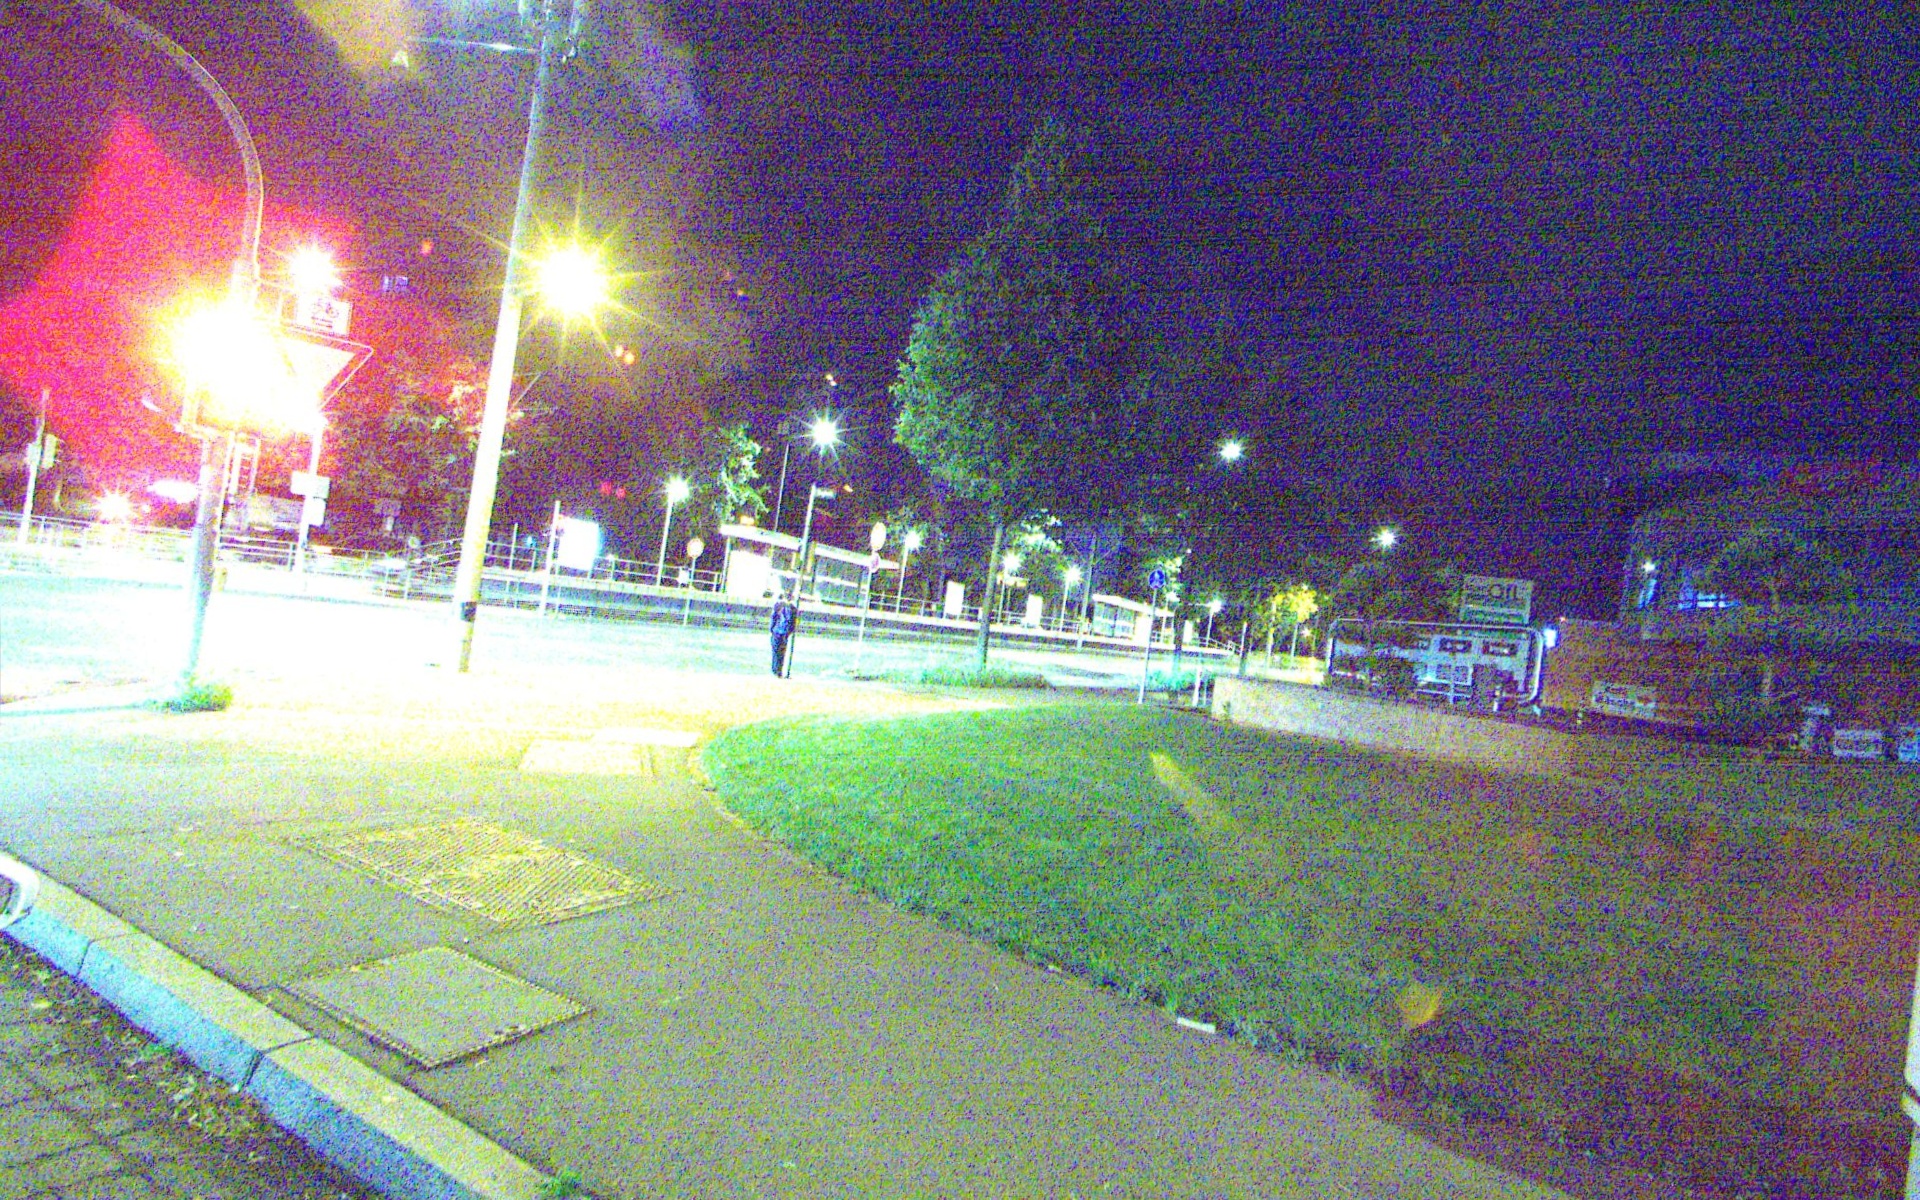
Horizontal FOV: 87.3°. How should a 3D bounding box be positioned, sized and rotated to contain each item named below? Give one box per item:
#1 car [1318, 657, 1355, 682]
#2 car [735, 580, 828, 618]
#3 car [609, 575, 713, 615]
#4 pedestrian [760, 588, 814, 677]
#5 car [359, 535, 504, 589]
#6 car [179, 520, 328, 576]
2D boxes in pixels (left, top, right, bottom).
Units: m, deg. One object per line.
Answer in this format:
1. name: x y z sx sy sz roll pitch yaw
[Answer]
1. car: 27.968 5.166 74.637 1.631 1.492 3.880 10 1 32
2. car: -9.429 -0.029 53.449 1.822 1.437 4.943 6 -1 35
3. car: -14.852 -0.227 50.192 1.822 1.437 4.821 6 -1 35
4. pedestrian: -3.369 0.625 19.600 0.867 1.677 0.835 2 1 -18
5. car: -19.833 -1.387 37.933 1.822 1.437 4.429 6 -1 35
6. car: -24.862 -1.794 35.504 1.741 1.421 3.873 6 -1 35
